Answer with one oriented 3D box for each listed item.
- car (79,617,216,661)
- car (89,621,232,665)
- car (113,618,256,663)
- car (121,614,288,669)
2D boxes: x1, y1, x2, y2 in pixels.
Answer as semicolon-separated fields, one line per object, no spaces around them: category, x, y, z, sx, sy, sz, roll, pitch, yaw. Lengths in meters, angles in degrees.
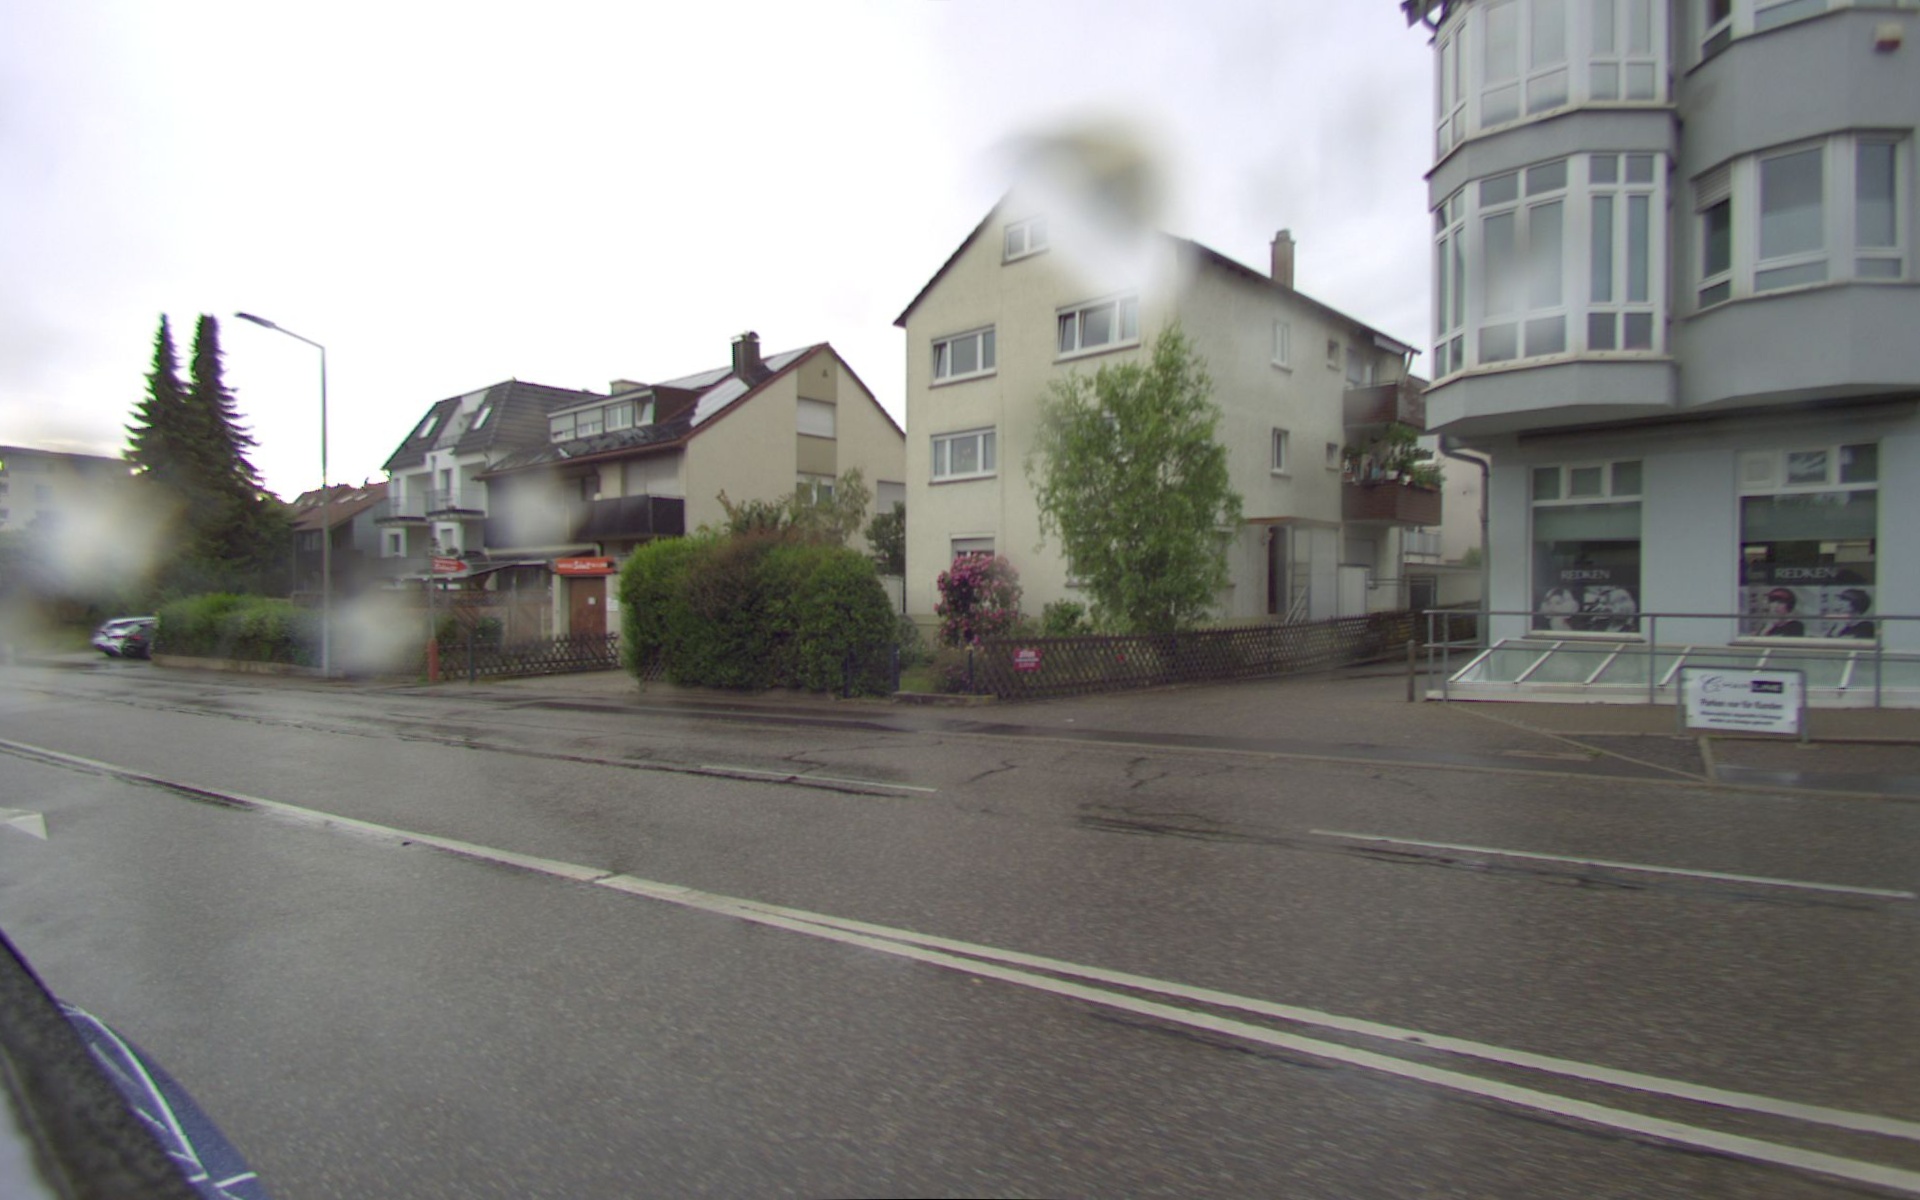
car;-33.300;1.559;41.537;1.998;1.557;4.065;-1;1;40
car;-31.282;1.656;39.678;1.889;1.453;4.103;-1;1;41
car;-29.232;1.502;38.254;1.811;1.453;3.986;-1;1;40
car;-26.783;1.432;35.983;1.999;1.673;4.411;-1;1;41
